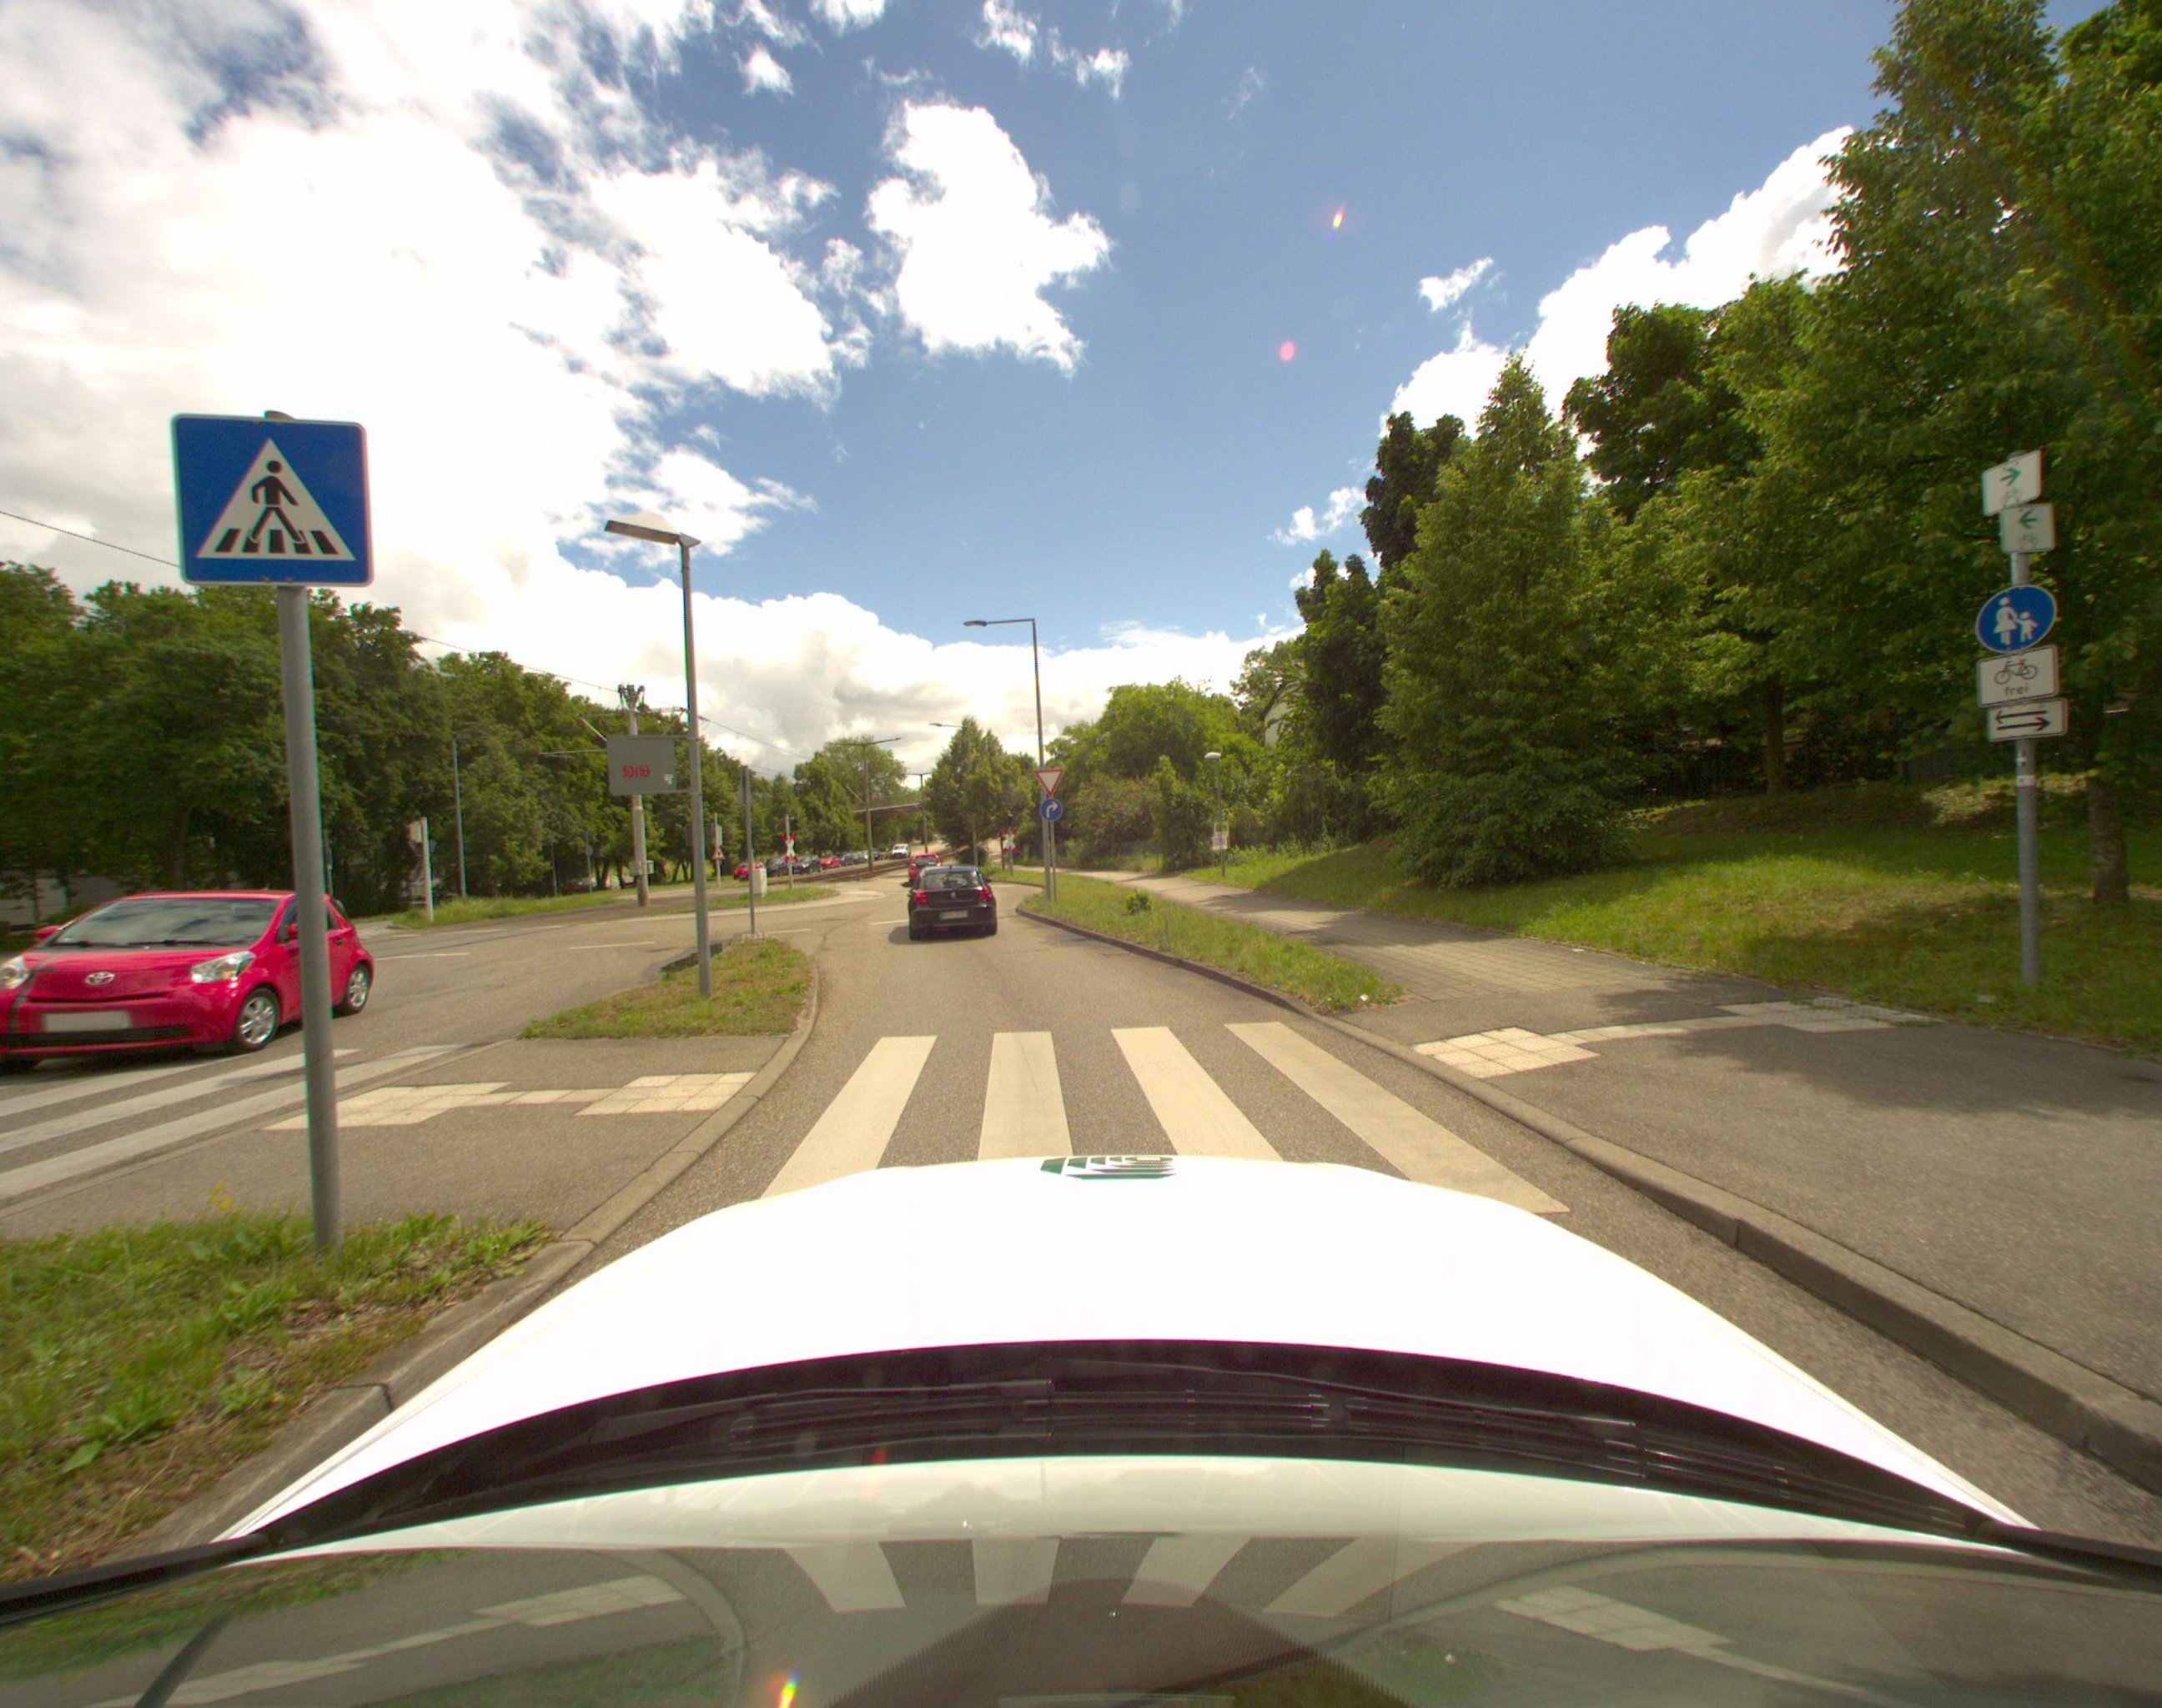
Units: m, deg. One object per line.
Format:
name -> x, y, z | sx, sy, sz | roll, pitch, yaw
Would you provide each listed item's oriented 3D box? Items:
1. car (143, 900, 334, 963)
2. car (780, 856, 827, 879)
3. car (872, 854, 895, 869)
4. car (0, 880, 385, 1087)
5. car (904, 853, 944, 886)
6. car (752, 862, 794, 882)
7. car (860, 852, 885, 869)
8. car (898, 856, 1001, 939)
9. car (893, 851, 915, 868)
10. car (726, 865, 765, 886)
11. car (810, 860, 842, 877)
car -> -24.943, 2.238, 24.342 | 1.875, 1.350, 3.822 | -4, 1, -7
car -> -22.609, 1.080, 66.486 | 1.985, 1.597, 4.423 | -3, 0, 3
car -> -26.829, 1.019, 110.609 | 1.986, 1.862, 4.001 | -3, 1, 1
car -> -8.597, 1.083, 8.065 | 1.727, 1.503, 2.943 | -3, 0, -23
car -> -7.674, 0.746, 39.856 | 1.767, 1.432, 3.465 | -4, -1, -11
car -> -25.719, 1.474, 68.060 | 1.871, 1.425, 3.535 | -3, 0, 3
car -> -26.998, 0.830, 105.503 | 1.985, 2.013, 4.003 | -3, 1, 3
car -> -2.803, 0.860, 17.182 | 1.816, 1.421, 3.985 | -4, -1, -10
car -> -23.143, 0.705, 106.756 | 1.988, 2.013, 3.998 | -3, 0, -1
car -> -25.638, 1.628, 62.304 | 1.524, 1.370, 3.595 | -3, 1, -2
car -> -26.164, 1.476, 83.793 | 1.906, 1.561, 4.000 | -3, 0, 1
